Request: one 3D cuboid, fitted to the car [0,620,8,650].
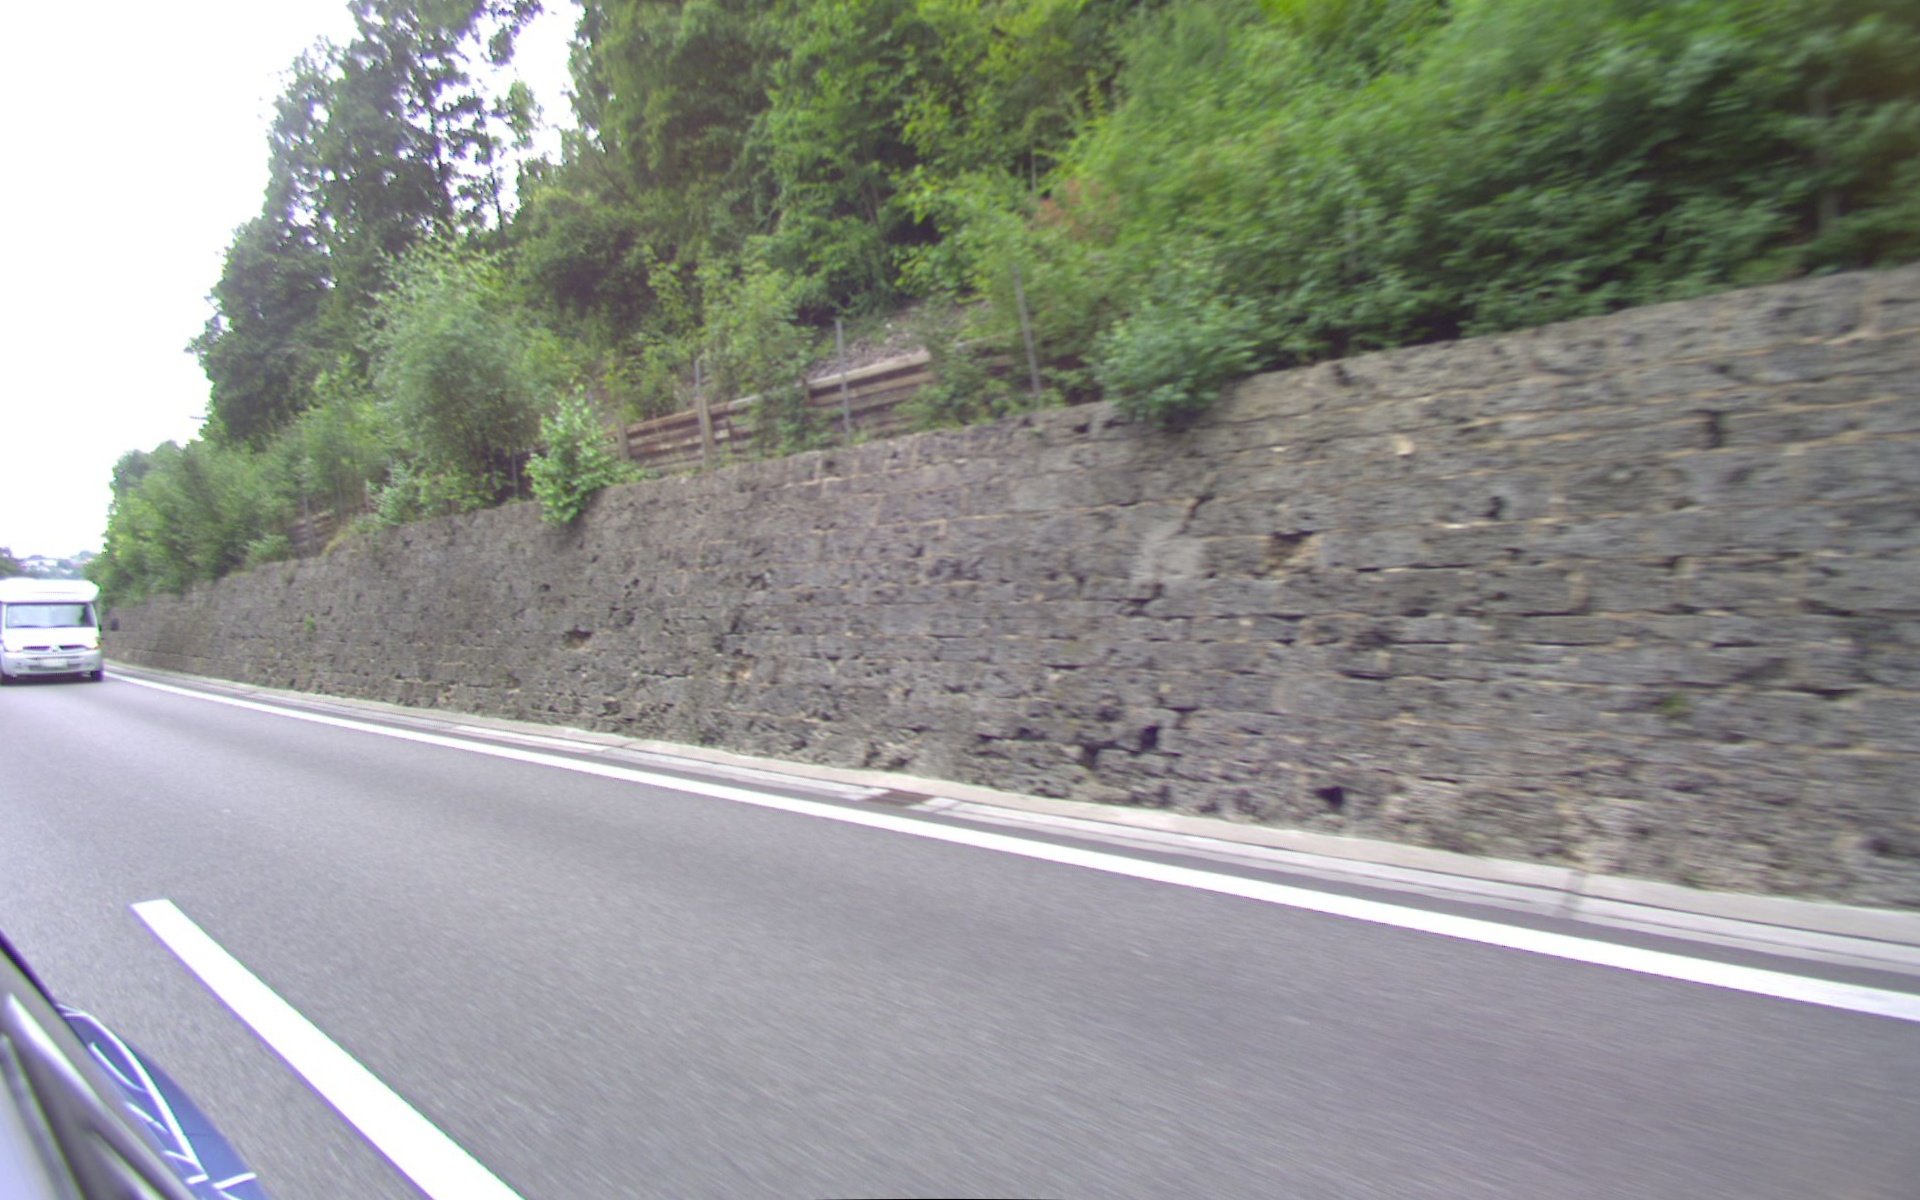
[{"bbox_3d":[-66.835,2.444,69.391,4.000,2.029,1.972,-2,-1,43],"label":"car"}]

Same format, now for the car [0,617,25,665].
[{"bbox_3d":[-37.880,1.601,39.483,4.000,1.796,1.784,-2,-1,43],"label":"car"}]

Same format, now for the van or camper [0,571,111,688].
[{"bbox_3d":[-24.545,0.749,26.861,7.023,2.756,2.240,-2,-1,43],"label":"van or camper"}]
